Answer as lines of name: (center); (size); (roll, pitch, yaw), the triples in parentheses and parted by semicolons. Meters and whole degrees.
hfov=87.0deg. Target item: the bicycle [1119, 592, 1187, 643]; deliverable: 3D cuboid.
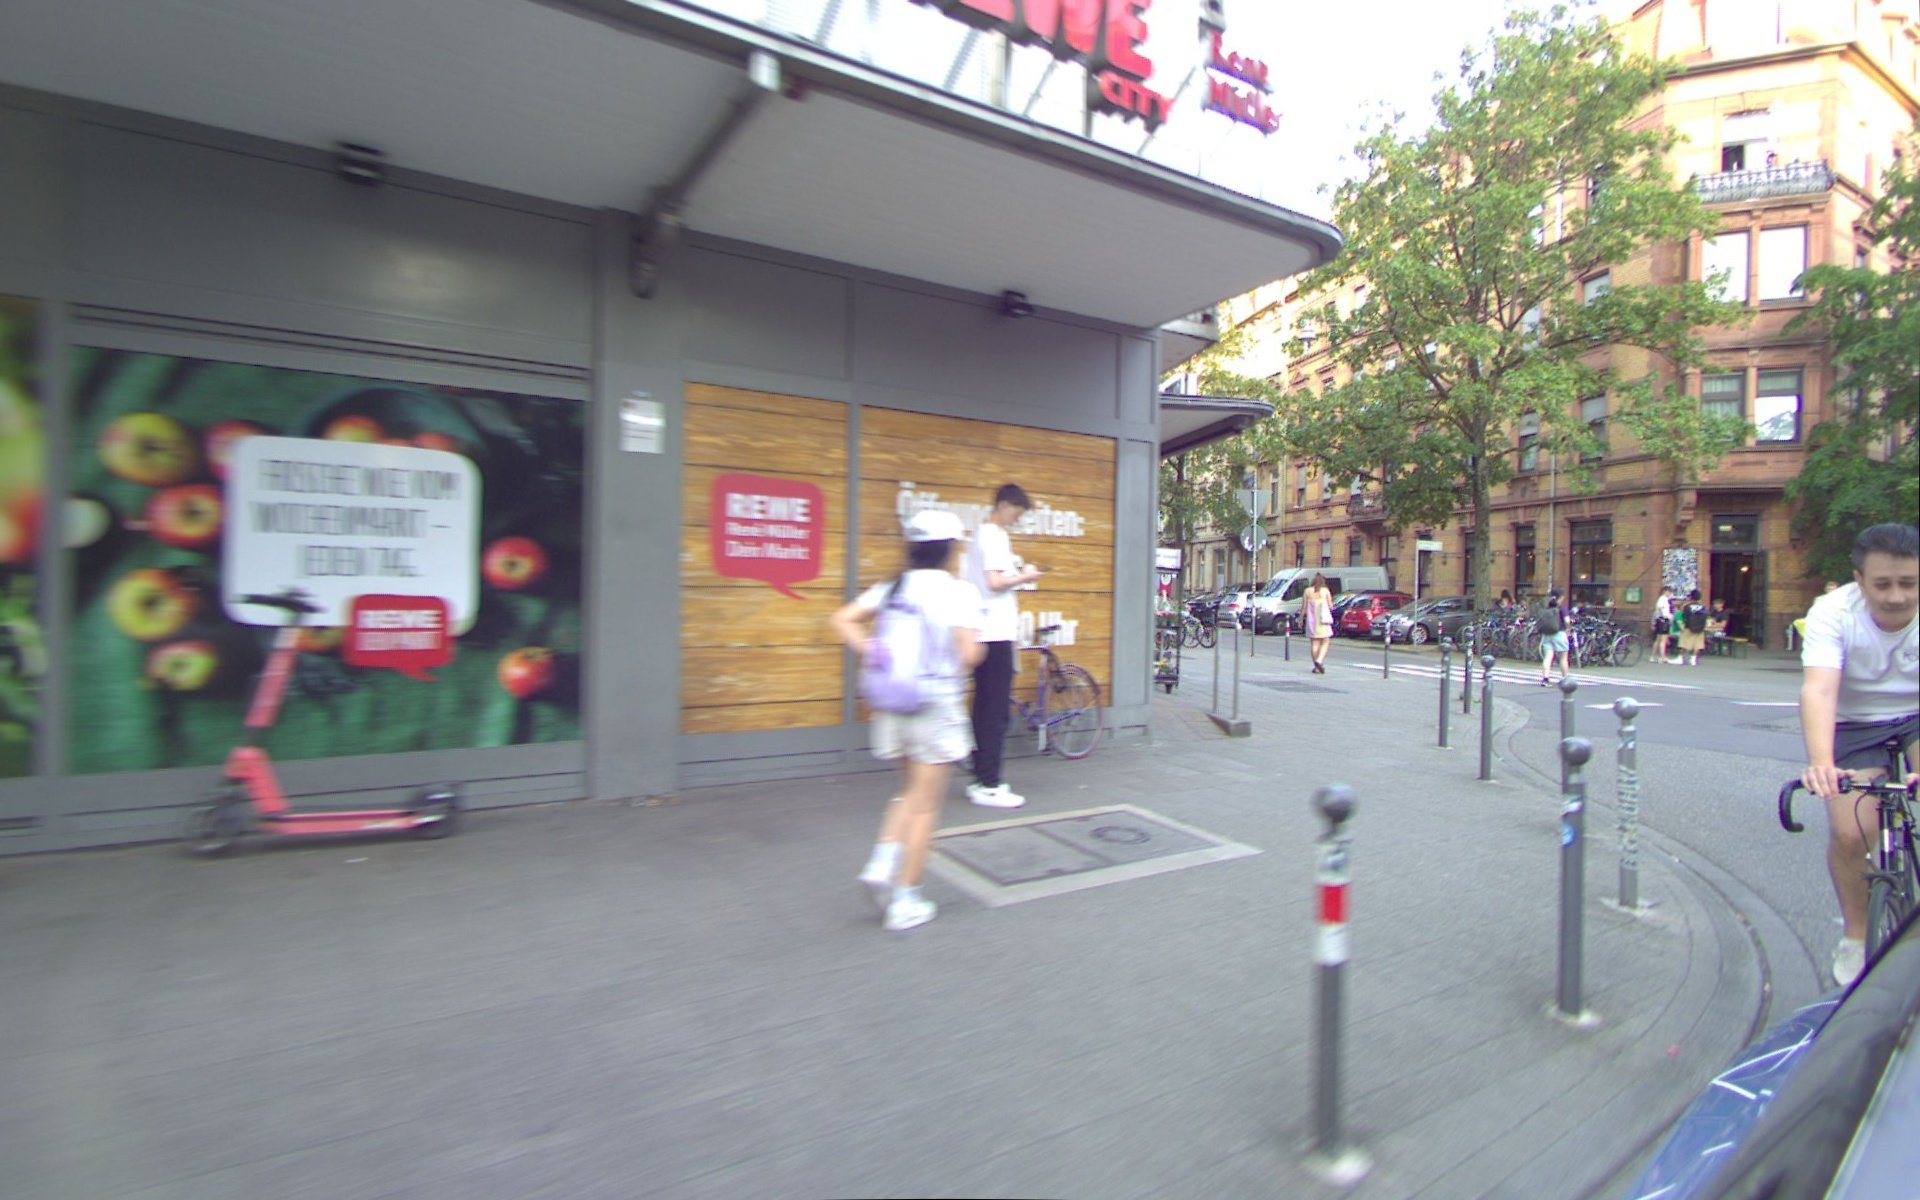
bicycle: (4.560, 0.397, 24.025); (0.558, 1.095, 1.787); (2, 2, -28)

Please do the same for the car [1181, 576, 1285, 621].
car: (11.754, -0.084, 43.657); (3.895, 1.847, 1.854); (-1, 1, -8)

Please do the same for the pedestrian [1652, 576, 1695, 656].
pedestrian: (16.243, 0.350, 23.052); (0.629, 1.767, 0.674); (-1, 1, -41)

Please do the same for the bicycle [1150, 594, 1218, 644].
bicycle: (5.476, 0.449, 24.802); (0.558, 1.095, 1.787); (2, 2, -28)

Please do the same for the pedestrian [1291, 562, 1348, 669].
pedestrian: (6.170, 0.248, 17.364); (0.689, 1.767, 0.703); (3, 1, 35)

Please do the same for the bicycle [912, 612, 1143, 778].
bicycle: (0.516, 0.624, 7.269); (1.749, 1.037, 0.458); (-1, 1, -34)

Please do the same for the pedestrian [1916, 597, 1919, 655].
pedestrian: (21.660, 0.588, 22.252); (0.663, 1.288, 0.639); (0, 1, 6)

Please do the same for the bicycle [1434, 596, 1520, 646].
bicycle: (13.275, 0.532, 26.009); (1.848, 1.255, 0.713); (0, 1, 0)

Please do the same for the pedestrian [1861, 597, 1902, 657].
pedestrian: (20.368, 0.576, 22.379); (0.672, 1.288, 0.631); (0, 1, 42)

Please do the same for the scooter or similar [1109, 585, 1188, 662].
scooter or similar: (3.169, 0.394, 17.010); (1.206, 1.248, 0.417); (2, 1, -17)

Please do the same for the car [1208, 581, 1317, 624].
car: (12.453, 0.067, 41.754); (3.895, 1.683, 1.767); (-1, 1, -8)

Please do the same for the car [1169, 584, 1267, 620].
car: (11.786, 0.056, 46.291); (3.892, 1.556, 1.855); (-1, 1, -14)

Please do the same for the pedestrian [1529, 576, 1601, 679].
pedestrian: (9.823, 0.444, 16.438); (0.850, 1.627, 0.540); (2, 1, -21)

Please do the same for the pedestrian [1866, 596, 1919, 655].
pedestrian: (21.058, 0.571, 22.834); (0.628, 1.288, 0.676); (0, 1, -6)

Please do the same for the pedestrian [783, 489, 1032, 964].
pedestrian: (-0.181, 0.425, 4.094); (0.656, 1.671, 0.878); (4, 3, 20)

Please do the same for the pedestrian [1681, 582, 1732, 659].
pedestrian: (16.445, 0.444, 22.318); (0.629, 1.658, 0.674); (0, 1, 4)

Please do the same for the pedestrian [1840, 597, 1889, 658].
pedestrian: (19.786, 0.595, 22.156); (0.669, 1.288, 0.634); (0, 1, 30)

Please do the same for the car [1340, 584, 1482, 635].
car: (14.426, 0.280, 32.455); (3.895, 1.521, 1.630); (-1, 1, -8)

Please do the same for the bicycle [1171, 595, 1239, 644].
bicycle: (6.050, 0.469, 25.097); (0.558, 1.095, 1.787); (2, 2, -28)

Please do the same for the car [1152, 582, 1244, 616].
car: (11.457, -0.087, 48.745); (3.892, 1.556, 1.855); (-1, 1, -14)

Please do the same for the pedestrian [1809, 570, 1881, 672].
pedestrian: (16.910, 0.382, 19.348); (0.891, 1.892, 0.676); (-1, 1, -18)

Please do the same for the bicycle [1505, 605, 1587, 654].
bicycle: (13.976, 0.681, 24.119); (1.845, 1.091, 0.714); (-1, 1, -22)

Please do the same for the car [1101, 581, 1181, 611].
car: (9.860, -0.242, 55.206); (3.892, 1.556, 1.855); (-1, 1, -14)

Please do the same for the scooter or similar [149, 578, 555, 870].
scooter or similar: (-2.815, 0.517, 4.855); (1.590, 1.233, 0.480); (-1, 2, -25)

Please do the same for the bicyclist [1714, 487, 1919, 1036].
bicyclist: (2.983, 0.439, 3.200); (0.934, 1.527, 0.651); (-1, 1, -30)

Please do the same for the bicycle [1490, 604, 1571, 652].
bicycle: (13.930, 0.659, 24.708); (1.845, 1.091, 0.714); (-1, 1, -22)

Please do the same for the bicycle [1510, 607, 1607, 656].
bicycle: (13.705, 0.703, 23.211); (1.846, 1.071, 0.713); (0, 1, -6)

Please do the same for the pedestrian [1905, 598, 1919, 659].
pedestrian: (20.546, 0.605, 21.524); (0.638, 1.288, 0.664); (0, 1, 43)

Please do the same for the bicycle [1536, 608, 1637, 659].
bicycle: (13.908, 0.730, 22.482); (1.846, 1.065, 0.713); (0, 1, -6)

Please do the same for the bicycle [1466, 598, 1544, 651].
bicycle: (13.559, 0.591, 25.178); (1.845, 1.255, 0.714); (-1, 1, -22)

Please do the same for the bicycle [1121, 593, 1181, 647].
bicycle: (4.226, 0.420, 22.495); (0.558, 1.096, 1.788); (2, 1, -14)

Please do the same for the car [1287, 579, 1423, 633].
car: (13.411, 0.165, 34.469); (3.895, 1.683, 1.767); (-1, 1, -8)

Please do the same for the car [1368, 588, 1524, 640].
car: (14.343, 0.383, 29.973); (3.895, 1.438, 1.630); (-1, 1, -8)

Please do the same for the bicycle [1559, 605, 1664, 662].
bicycle: (14.010, 0.699, 21.777); (1.846, 1.169, 0.713); (0, 1, -6)

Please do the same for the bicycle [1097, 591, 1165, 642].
bicycle: (3.993, 0.371, 23.778); (0.558, 1.095, 1.787); (2, 2, -28)

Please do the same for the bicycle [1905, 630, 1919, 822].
bicycle: (5.878, 0.770, 5.565); (0.790, 1.154, 2.310); (0, 0, 38)

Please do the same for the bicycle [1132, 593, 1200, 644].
bicycle: (4.961, 0.435, 24.510); (0.558, 1.095, 1.787); (2, 2, -28)

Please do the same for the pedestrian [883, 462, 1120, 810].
pedestrian: (0.248, 0.183, 6.253); (1.166, 1.935, 0.764); (1, 3, -32)

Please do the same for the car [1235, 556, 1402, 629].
car: (13.086, -0.306, 37.038); (5.375, 2.487, 2.125); (-2, 1, -10)

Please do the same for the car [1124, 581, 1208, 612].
car: (10.815, -0.203, 53.152); (3.892, 1.556, 1.855); (-1, 1, -14)
